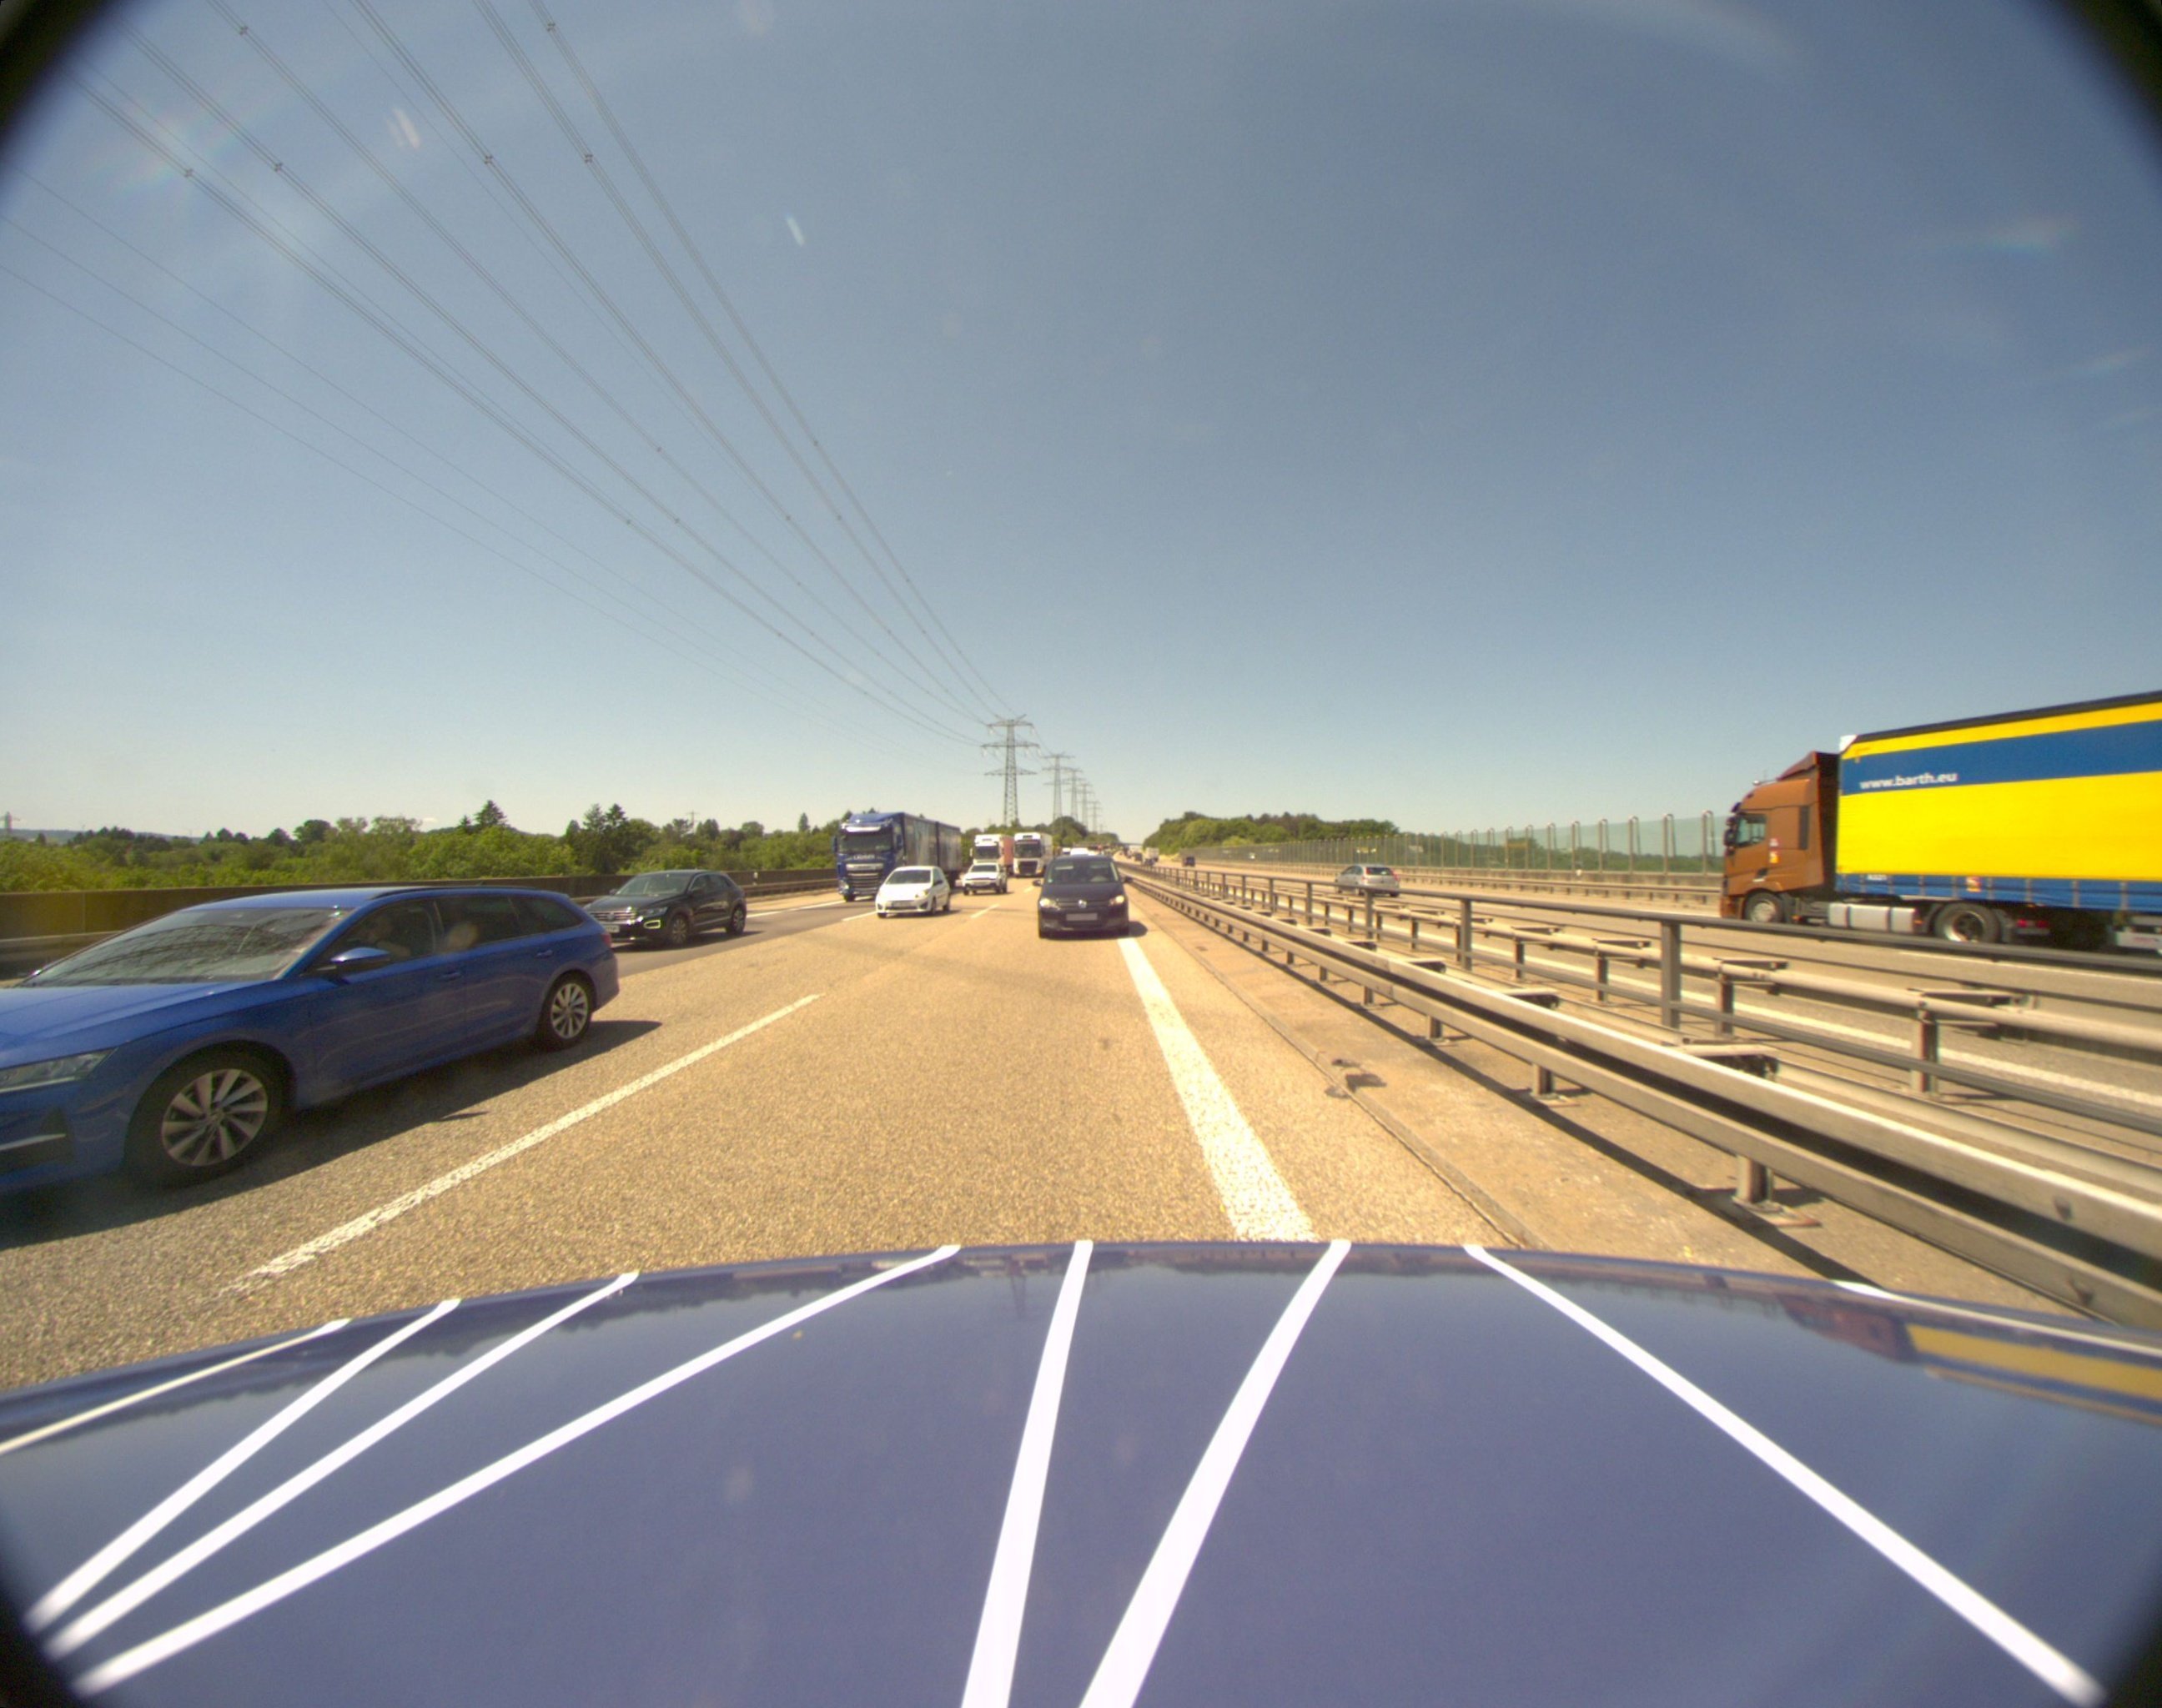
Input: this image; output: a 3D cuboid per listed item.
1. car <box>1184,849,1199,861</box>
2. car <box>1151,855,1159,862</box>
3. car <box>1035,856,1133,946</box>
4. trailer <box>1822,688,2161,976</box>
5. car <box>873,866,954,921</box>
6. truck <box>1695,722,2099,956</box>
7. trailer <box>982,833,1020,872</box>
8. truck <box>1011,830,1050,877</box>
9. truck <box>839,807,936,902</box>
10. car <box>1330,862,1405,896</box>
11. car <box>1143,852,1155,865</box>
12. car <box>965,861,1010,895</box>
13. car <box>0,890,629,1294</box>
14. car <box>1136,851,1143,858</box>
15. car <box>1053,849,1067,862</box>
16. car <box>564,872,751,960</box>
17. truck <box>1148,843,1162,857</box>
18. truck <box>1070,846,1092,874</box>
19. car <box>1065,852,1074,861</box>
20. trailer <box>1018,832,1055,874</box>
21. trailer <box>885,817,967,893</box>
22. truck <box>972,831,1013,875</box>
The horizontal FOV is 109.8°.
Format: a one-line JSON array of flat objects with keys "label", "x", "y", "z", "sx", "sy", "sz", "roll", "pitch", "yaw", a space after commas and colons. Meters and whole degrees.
[{"label": "car", "x": 19.397, "y": 0.099, "z": 133.704, "sx": 2.021, "sy": 2.002, "sz": 3.968, "roll": -2, "pitch": 1, "yaw": 1}, {"label": "car", "x": 15.876, "y": 1.002, "z": 163.376, "sx": 1.473, "sy": 1.492, "sz": 3.200, "roll": 0, "pitch": 1, "yaw": 1}, {"label": "car", "x": 0.046, "y": 0.863, "z": 15.865, "sx": 1.739, "sy": 1.607, "sz": 3.911, "roll": -2, "pitch": 0, "yaw": 0}, {"label": "trailer", "x": 16.375, "y": -0.309, "z": 8.628, "sx": 2.429, "sy": 4.039, "sz": 13.801, "roll": 0, "pitch": 0, "yaw": 0}, {"label": "car", "x": -4.963, "y": 1.120, "z": 23.016, "sx": 1.583, "sy": 1.432, "sz": 3.629, "roll": -2, "pitch": 0, "yaw": 0}, {"label": "truck", "x": 16.387, "y": -0.282, "z": 15.947, "sx": 2.420, "sy": 4.035, "sz": 5.542, "roll": 1, "pitch": 1, "yaw": 0}, {"label": "trailer", "x": -8.237, "y": -0.197, "z": 78.990, "sx": 2.904, "sy": 3.779, "sz": 8.688, "roll": -2, "pitch": 1, "yaw": 0}, {"label": "truck", "x": -4.438, "y": -0.076, "z": 68.327, "sx": 2.914, "sy": 3.869, "sz": 6.739, "roll": -2, "pitch": 1, "yaw": 0}, {"label": "truck", "x": -9.020, "y": -0.001, "z": 36.338, "sx": 2.517, "sy": 3.945, "sz": 7.926, "roll": -2, "pitch": 0, "yaw": 0}, {"label": "car", "x": 12.666, "y": 1.057, "z": 33.836, "sx": 1.767, "sy": 1.374, "sz": 4.078, "roll": 1, "pitch": 0, "yaw": 0}, {"label": "car", "x": 10.499, "y": 0.726, "z": 116.984, "sx": 1.584, "sy": 2.002, "sz": 3.546, "roll": 0, "pitch": 0, "yaw": 1}, {"label": "car", "x": -4.525, "y": 1.135, "z": 37.163, "sx": 1.722, "sy": 1.526, "sz": 3.753, "roll": -2, "pitch": 0, "yaw": 0}, {"label": "car", "x": -5.271, "y": 1.094, "z": 5.156, "sx": 1.714, "sy": 1.432, "sz": 4.500, "roll": -2, "pitch": 0, "yaw": -1}, {"label": "car", "x": 16.168, "y": 0.035, "z": 209.722, "sx": 1.725, "sy": 1.849, "sz": 3.555, "roll": -2, "pitch": 1, "yaw": 1}, {"label": "car", "x": -3.380, "y": 0.284, "z": 121.952, "sx": 1.998, "sy": 2.002, "sz": 4.000, "roll": -2, "pitch": 1, "yaw": 1}, {"label": "car", "x": -8.693, "y": 1.193, "z": 16.034, "sx": 1.709, "sy": 1.497, "sz": 3.888, "roll": -2, "pitch": 0, "yaw": 0}, {"label": "truck", "x": 20.250, "y": -1.150, "z": 208.621, "sx": 3.289, "sy": 3.628, "sz": 6.975, "roll": -2, "pitch": 1, "yaw": 1}, {"label": "truck", "x": 0.042, "y": 0.569, "z": 79.234, "sx": 2.100, "sy": 2.700, "sz": 5.864, "roll": -2, "pitch": 1, "yaw": 1}, {"label": "car", "x": -2.430, "y": 0.503, "z": 158.479, "sx": 1.701, "sy": 1.599, "sz": 3.639, "roll": -2, "pitch": 1, "yaw": 1}, {"label": "trailer", "x": -4.402, "y": -0.161, "z": 76.588, "sx": 2.898, "sy": 3.846, "sz": 9.773, "roll": -2, "pitch": 1, "yaw": 1}, {"label": "trailer", "x": -9.052, "y": 0.004, "z": 45.748, "sx": 2.543, "sy": 3.971, "sz": 10.884, "roll": -2, "pitch": 1, "yaw": 0}, {"label": "truck", "x": -8.238, "y": -0.126, "z": 71.269, "sx": 2.914, "sy": 3.869, "sz": 6.739, "roll": -2, "pitch": 1, "yaw": 0}]
